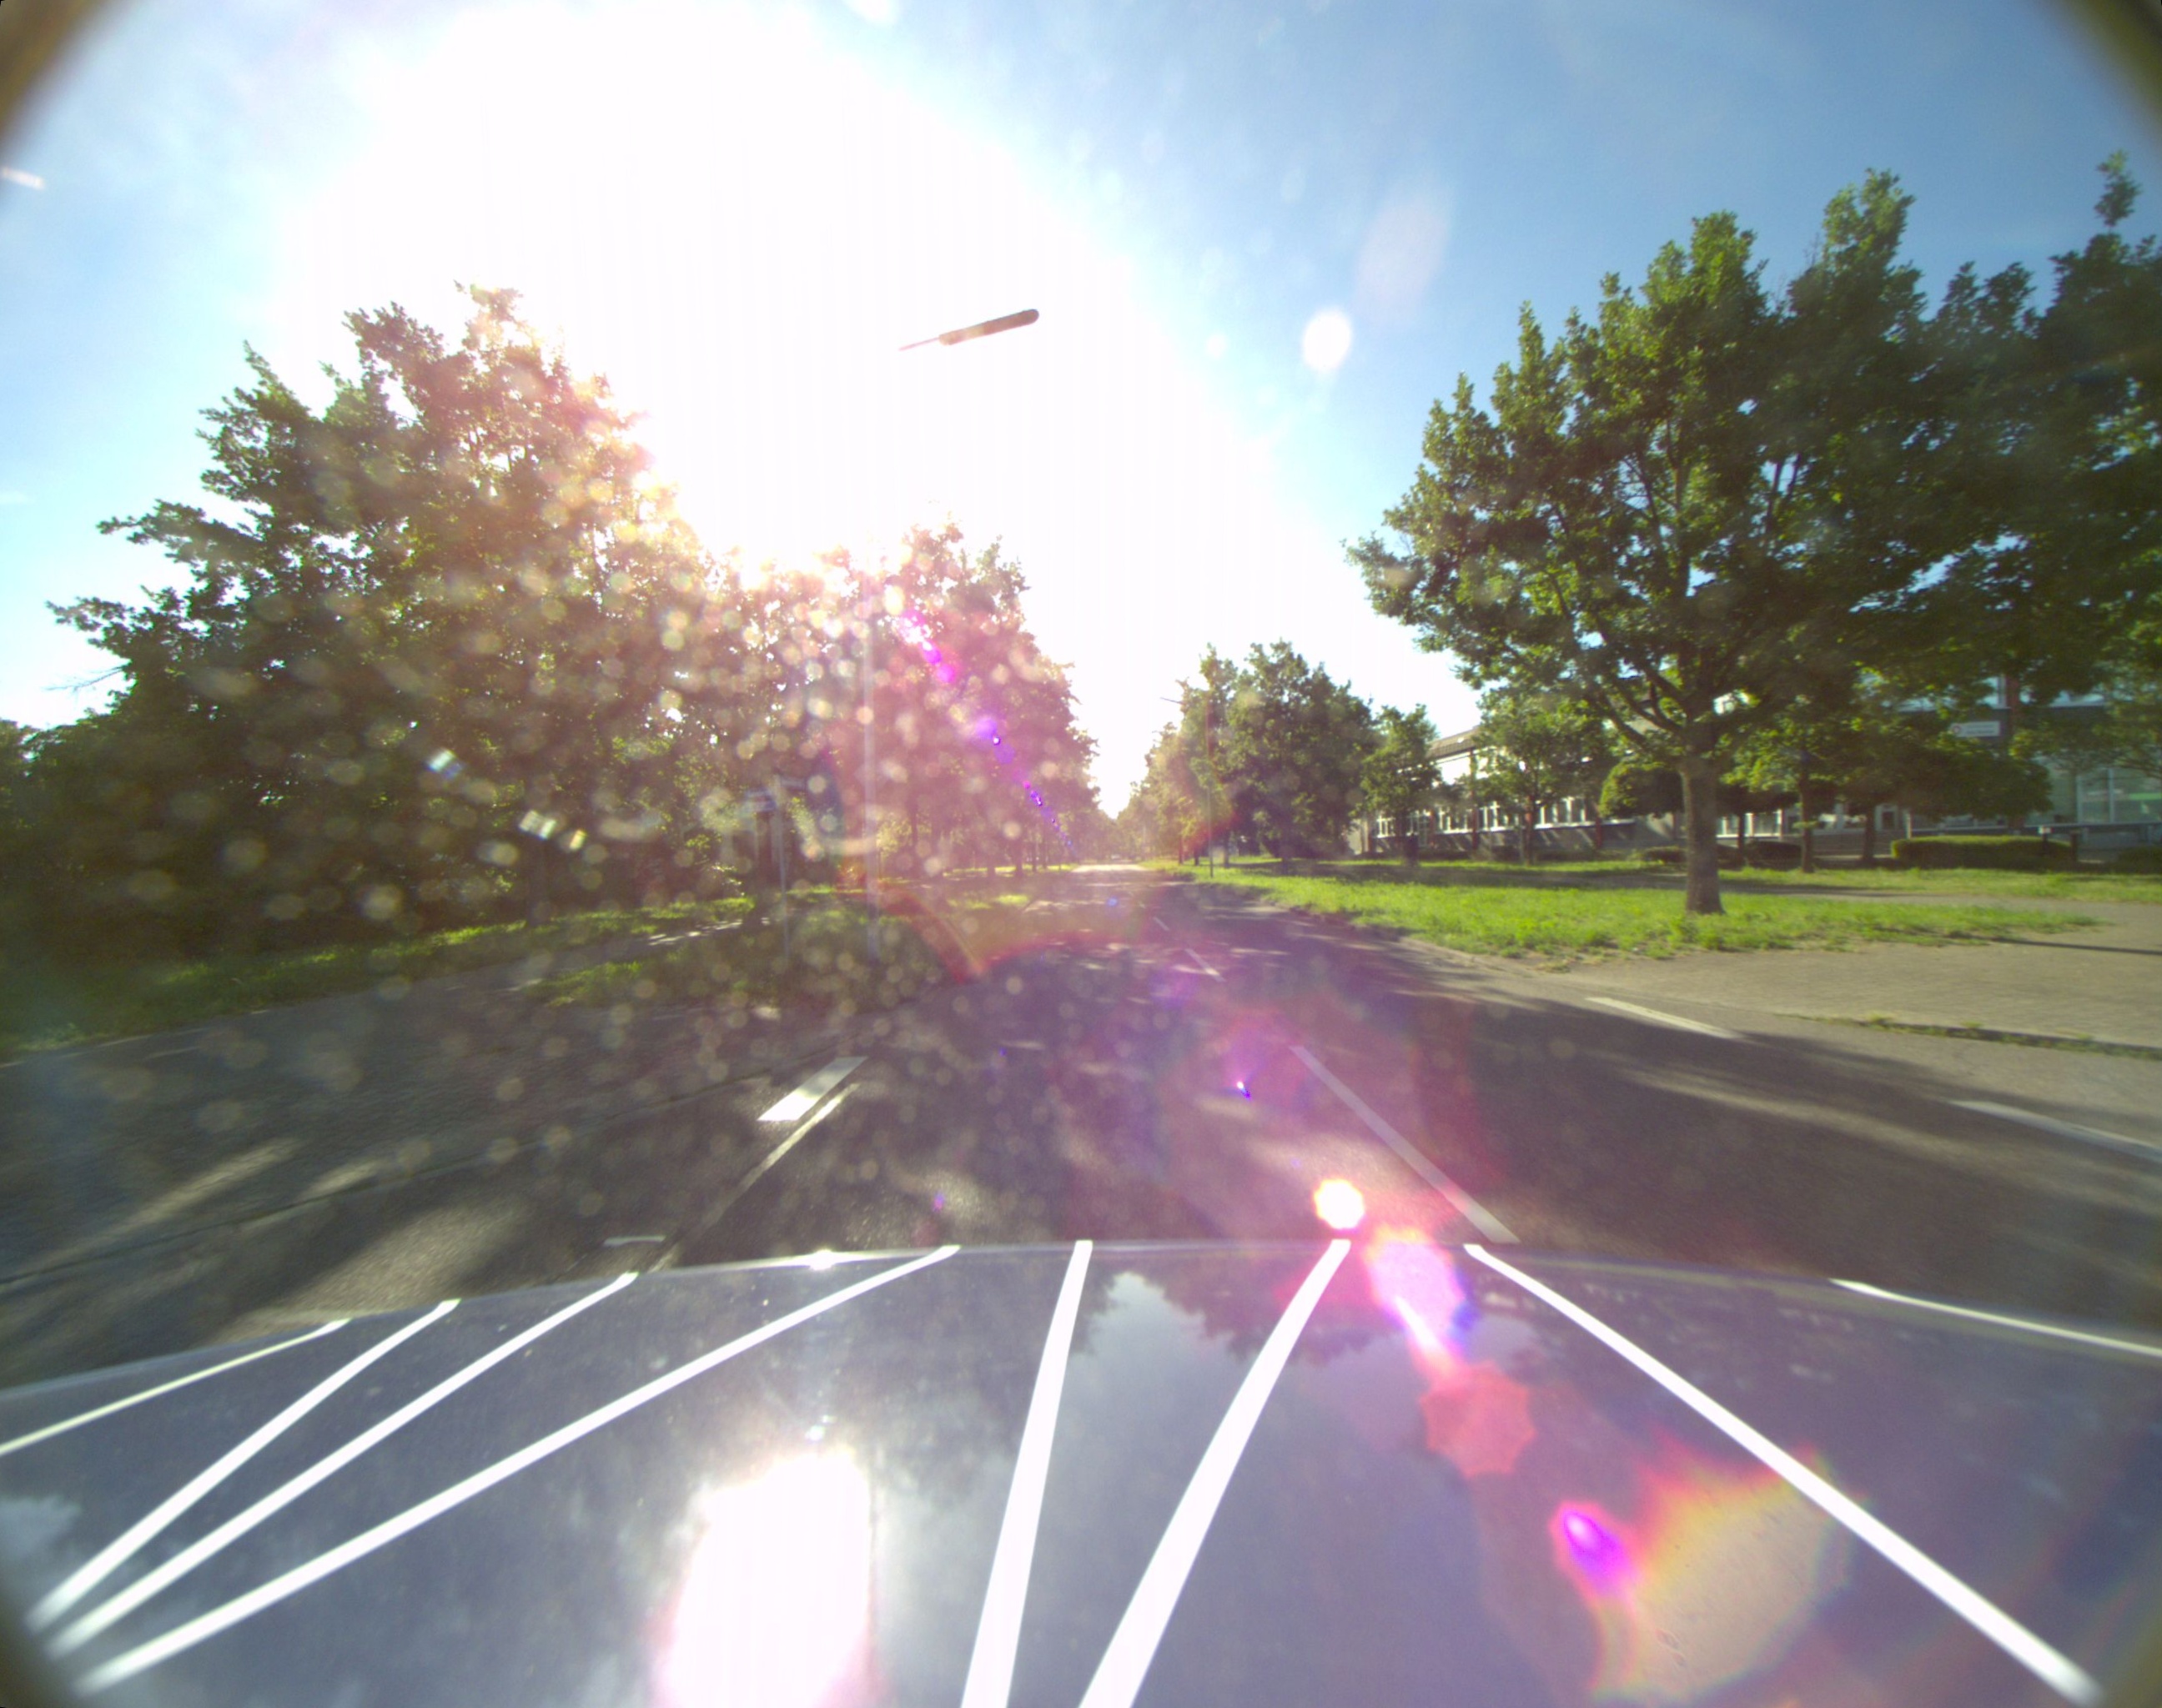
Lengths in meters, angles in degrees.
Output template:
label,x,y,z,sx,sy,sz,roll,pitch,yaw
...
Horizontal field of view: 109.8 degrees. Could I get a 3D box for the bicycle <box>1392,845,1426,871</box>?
label,x,y,z,sx,sy,sz,roll,pitch,yaw
bicycle,15.419,0.180,35.780,0.552,1.155,2.334,-3,1,1

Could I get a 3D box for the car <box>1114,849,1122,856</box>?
label,x,y,z,sx,sy,sz,roll,pitch,yaw
car,9.163,-0.363,188.630,1.827,1.477,3.999,-3,1,-1

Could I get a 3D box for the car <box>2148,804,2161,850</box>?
label,x,y,z,sx,sy,sz,roll,pitch,yaw
car,36.972,-0.872,23.451,1.999,1.486,4.295,-4,2,-2

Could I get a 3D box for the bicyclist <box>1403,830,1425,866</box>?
label,x,y,z,sx,sy,sz,roll,pitch,yaw
bicyclist,15.444,-0.290,35.246,0.665,1.619,0.659,-3,1,1
